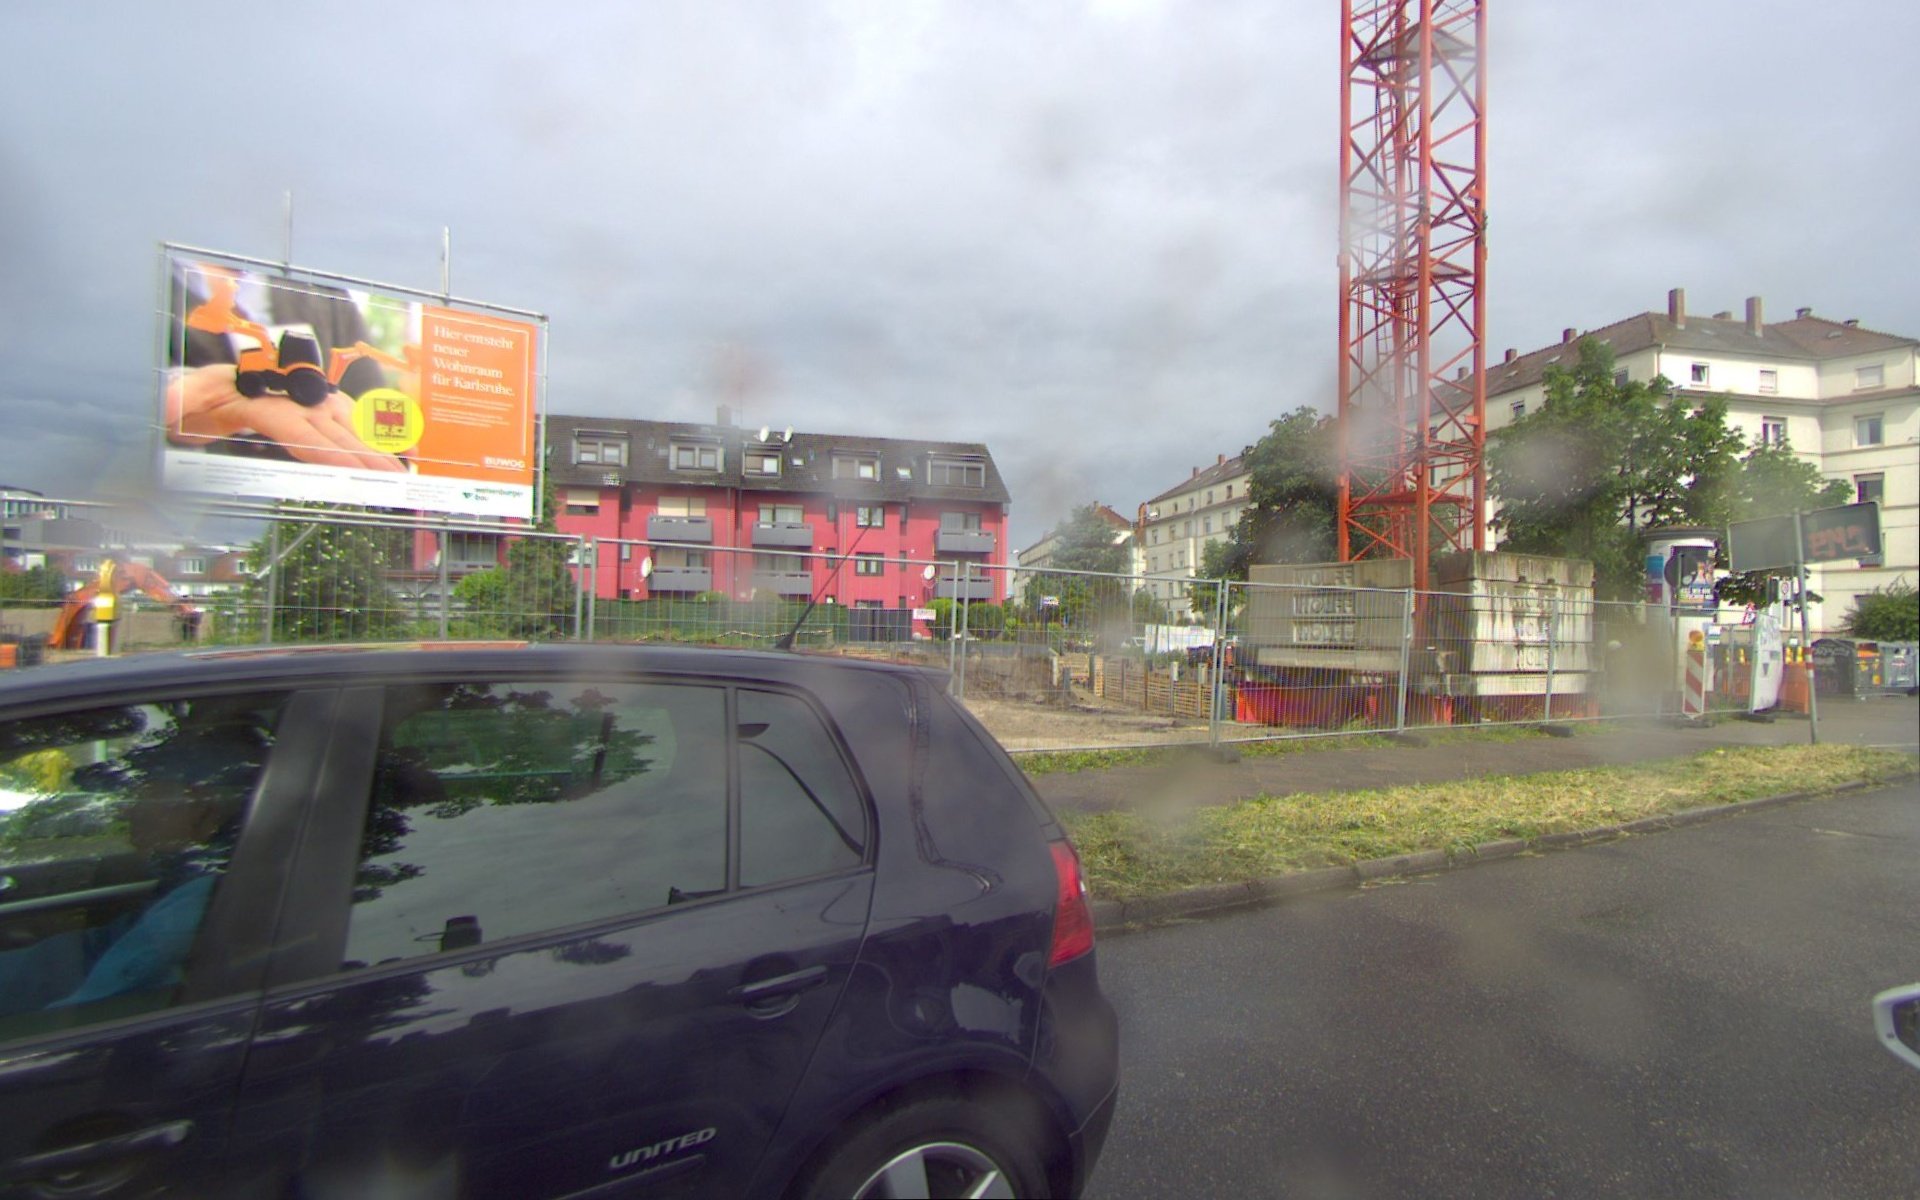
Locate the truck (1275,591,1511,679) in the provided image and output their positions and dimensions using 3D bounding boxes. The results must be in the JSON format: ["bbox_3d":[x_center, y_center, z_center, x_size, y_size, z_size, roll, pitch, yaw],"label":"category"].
[{"bbox_3d":[17.698,1.512,42.206,3.730,3.226,9.813,1,-3,-16],"label":"truck"}]

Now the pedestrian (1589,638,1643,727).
[{"bbox_3d":[12.787,1.583,19.601,0.710,1.651,0.684,2,0,22],"label":"pedestrian"}]

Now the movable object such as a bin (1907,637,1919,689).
[{"bbox_3d":[31.756,2.025,32.143,1.433,1.684,1.540,0,-2,-12],"label":"movable object such as a bin"}]

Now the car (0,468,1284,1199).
[{"bbox_3d":[-1.438,0.712,2.053,3.953,1.628,1.833,2,-4,-30],"label":"car"}]

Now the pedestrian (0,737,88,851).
[{"bbox_3d":[-14.650,3.071,16.082,0.838,1.706,0.585,2,-5,-26],"label":"pedestrian"}]

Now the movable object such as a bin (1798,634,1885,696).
[{"bbox_3d":[27.163,1.988,30.977,1.241,1.848,1.540,0,-2,-11],"label":"movable object such as a bin"}]

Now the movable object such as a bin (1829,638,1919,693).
[{"bbox_3d":[28.639,2.028,31.462,1.501,1.678,1.540,0,-2,-12],"label":"movable object such as a bin"}]

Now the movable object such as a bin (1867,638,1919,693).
[{"bbox_3d":[30.224,2.038,31.801,1.636,1.696,1.540,0,-2,-12],"label":"movable object such as a bin"}]
